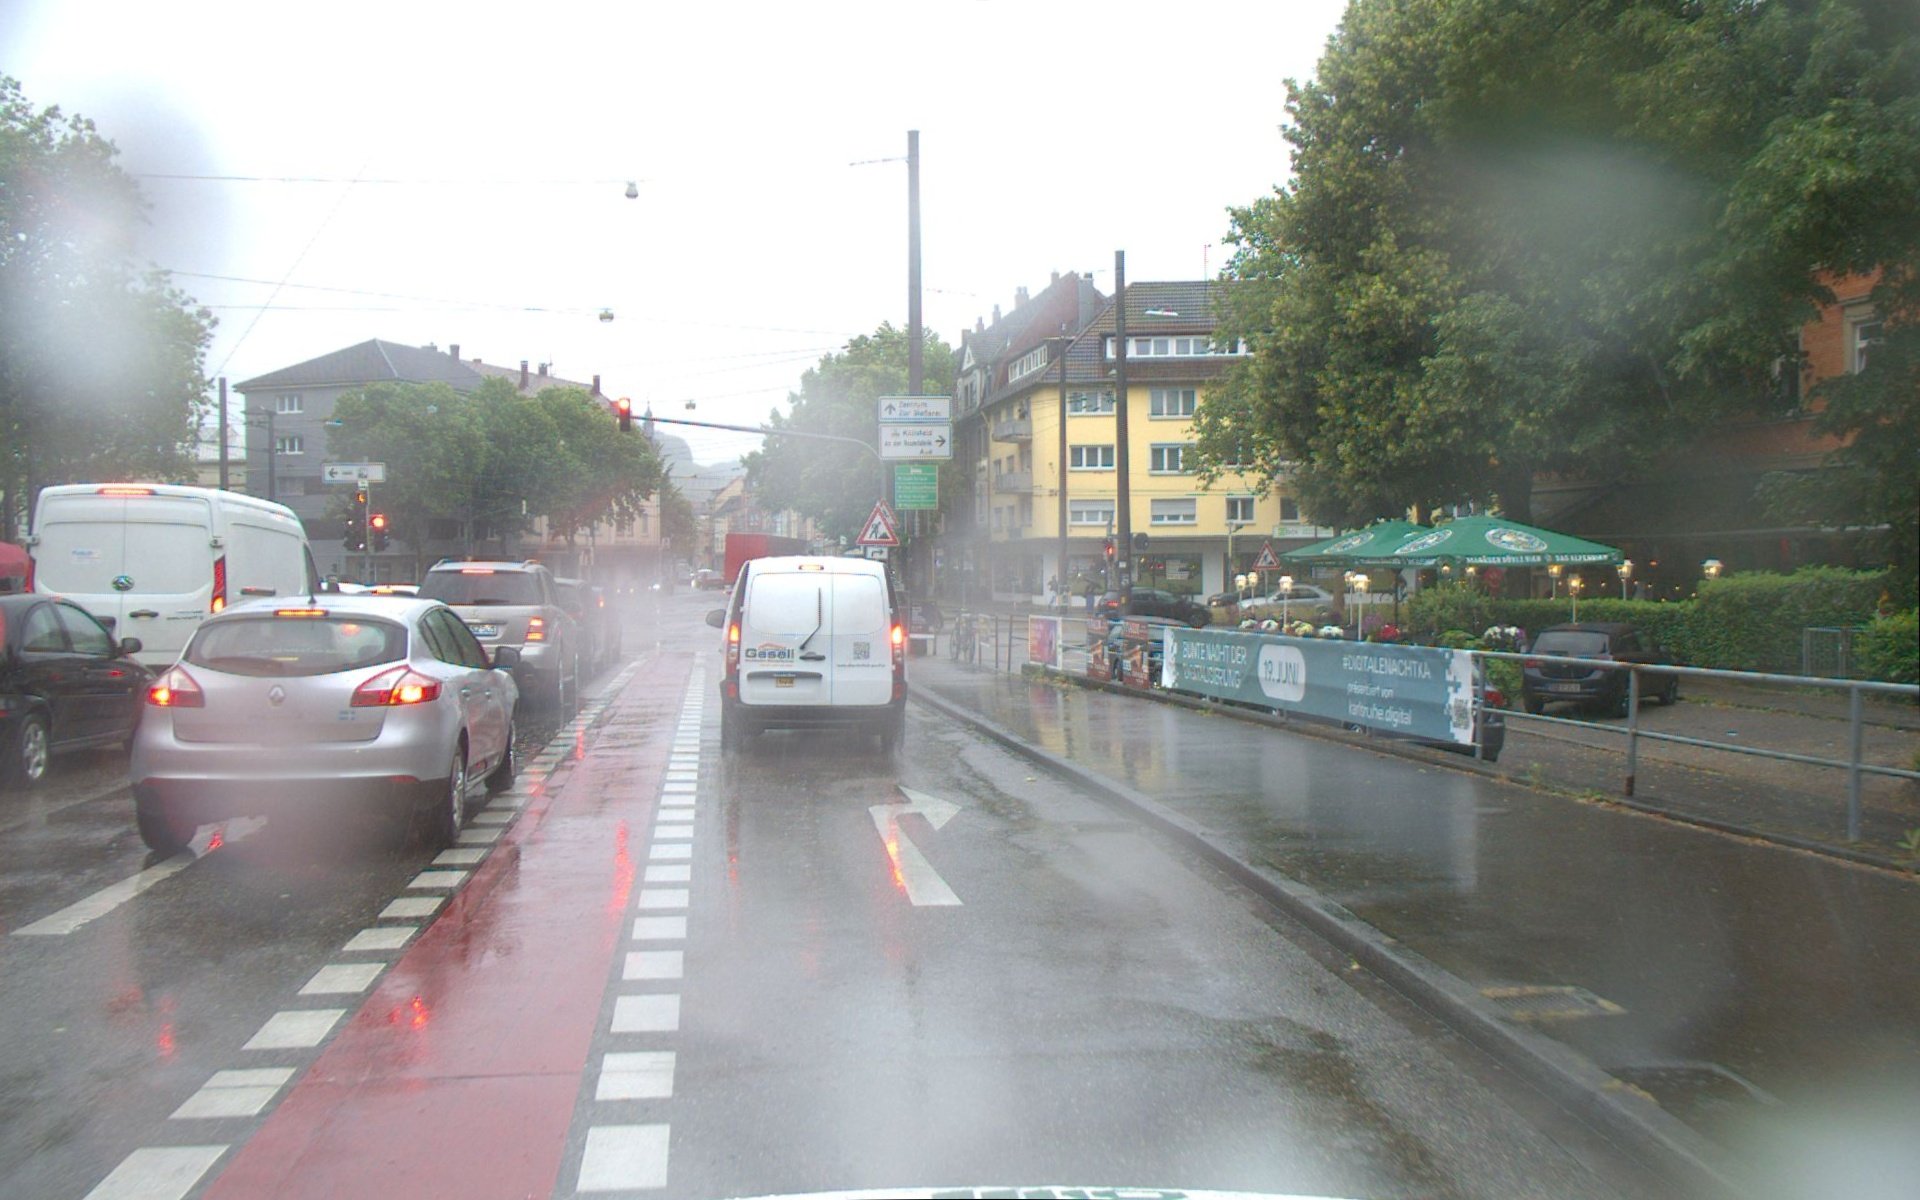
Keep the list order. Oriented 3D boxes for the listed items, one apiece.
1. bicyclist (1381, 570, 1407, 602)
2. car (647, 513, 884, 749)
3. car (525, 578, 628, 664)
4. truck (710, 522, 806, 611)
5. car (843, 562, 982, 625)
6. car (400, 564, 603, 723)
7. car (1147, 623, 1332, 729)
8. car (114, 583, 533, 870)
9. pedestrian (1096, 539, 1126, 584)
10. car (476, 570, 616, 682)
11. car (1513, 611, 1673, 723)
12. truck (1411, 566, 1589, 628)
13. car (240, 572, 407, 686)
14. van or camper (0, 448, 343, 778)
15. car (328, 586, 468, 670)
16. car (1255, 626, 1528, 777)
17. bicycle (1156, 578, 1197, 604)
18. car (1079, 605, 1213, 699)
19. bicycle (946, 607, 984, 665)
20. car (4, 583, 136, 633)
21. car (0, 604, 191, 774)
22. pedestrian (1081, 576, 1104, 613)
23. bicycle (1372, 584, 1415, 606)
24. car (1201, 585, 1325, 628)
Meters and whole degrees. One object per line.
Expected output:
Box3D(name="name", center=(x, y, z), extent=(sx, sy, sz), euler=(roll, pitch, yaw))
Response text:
Box3D(name="bicyclist", center=(21.468, -0.690, 81.779), extent=(1.043, 1.574, 0.937), euler=(1, 0, 3))
Box3D(name="car", center=(-2.051, 0.273, 17.012), extent=(2.061, 2.047, 4.953), euler=(0, 0, -8))
Box3D(name="car", center=(-7.691, 0.391, 33.431), extent=(1.695, 1.606, 3.813), euler=(1, 0, -8))
Box3D(name="truck", center=(-12.489, -1.977, 104.117), extent=(3.397, 5.176, 15.312), euler=(1, 0, 3))
Box3D(name="car", center=(-1.504, -0.200, 52.240), extent=(3.940, 1.898, 1.982), euler=(1, 0, -28))
Box3D(name="car", center=(-5.718, 0.496, 21.164), extent=(1.987, 1.801, 4.453), euler=(1, 0, -9))
Box3D(name="car", center=(4.209, 1.113, 25.500), extent=(1.671, 1.424, 3.965), euler=(1, 0, -8))
Box3D(name="car", center=(-3.877, 0.663, 10.777), extent=(1.735, 1.503, 3.992), euler=(1, 0, -9))
Box3D(name="pedestrian", center=(5.846, -1.478, 63.993), extent=(0.886, 1.698, 1.020), euler=(1, 0, 21))
Box3D(name="car", center=(-6.792, 0.398, 27.505), extent=(1.800, 1.697, 4.165), euler=(1, 0, -8))
Box3D(name="car", center=(11.000, 1.078, 28.587), extent=(1.957, 1.743, 3.992), euler=(1, 0, 30))
Box3D(name="truck", center=(19.155, -0.104, 58.823), extent=(5.632, 2.049, 2.111), euler=(1, 0, -4))
Box3D(name="car", center=(-9.866, 0.406, 25.903), extent=(1.614, 1.657, 3.829), euler=(0, 0, -8))
Box3D(name="van or camper", center=(-8.829, 0.099, 19.095), extent=(2.119, 3.196, 5.838), euler=(0, 0, -10))
Box3D(name="car", center=(-10.825, 0.498, 32.131), extent=(1.809, 1.510, 3.993), euler=(1, 0, -8))
Box3D(name="car", center=(5.159, 1.166, 20.338), extent=(1.700, 1.566, 4.065), euler=(1, 0, -10))
Box3D(name="bicycle", center=(11.109, -0.458, 84.946), extent=(2.057, 1.283, 0.532), euler=(1, 1, 6))
Box3D(name="car", center=(3.418, 0.929, 30.996), extent=(1.673, 1.467, 3.520), euler=(4, 1, -6))
Box3D(name="bicycle", center=(0.101, 0.734, 34.540), extent=(0.504, 1.126, 2.014), euler=(3, 0, -7))
Box3D(name="car", center=(-25.149, 0.228, 46.846), extent=(1.561, 1.337, 3.526), euler=(1, 0, 6))
Box3D(name="car", center=(-7.621, 0.624, 13.412), extent=(1.436, 1.137, 4.079), euler=(1, 0, -9))
Box3D(name="pedestrian", center=(5.754, -0.232, 71.737), extent=(0.612, 1.560, 0.811), euler=(1, 0, 43))
Box3D(name="bicycle", center=(21.415, -0.255, 81.742), extent=(1.975, 1.045, 0.660), euler=(1, 0, 4))
Box3D(name="car", center=(12.516, 0.273, 68.502), extent=(4.833, 1.672, 2.001), euler=(1, -2, 4))
